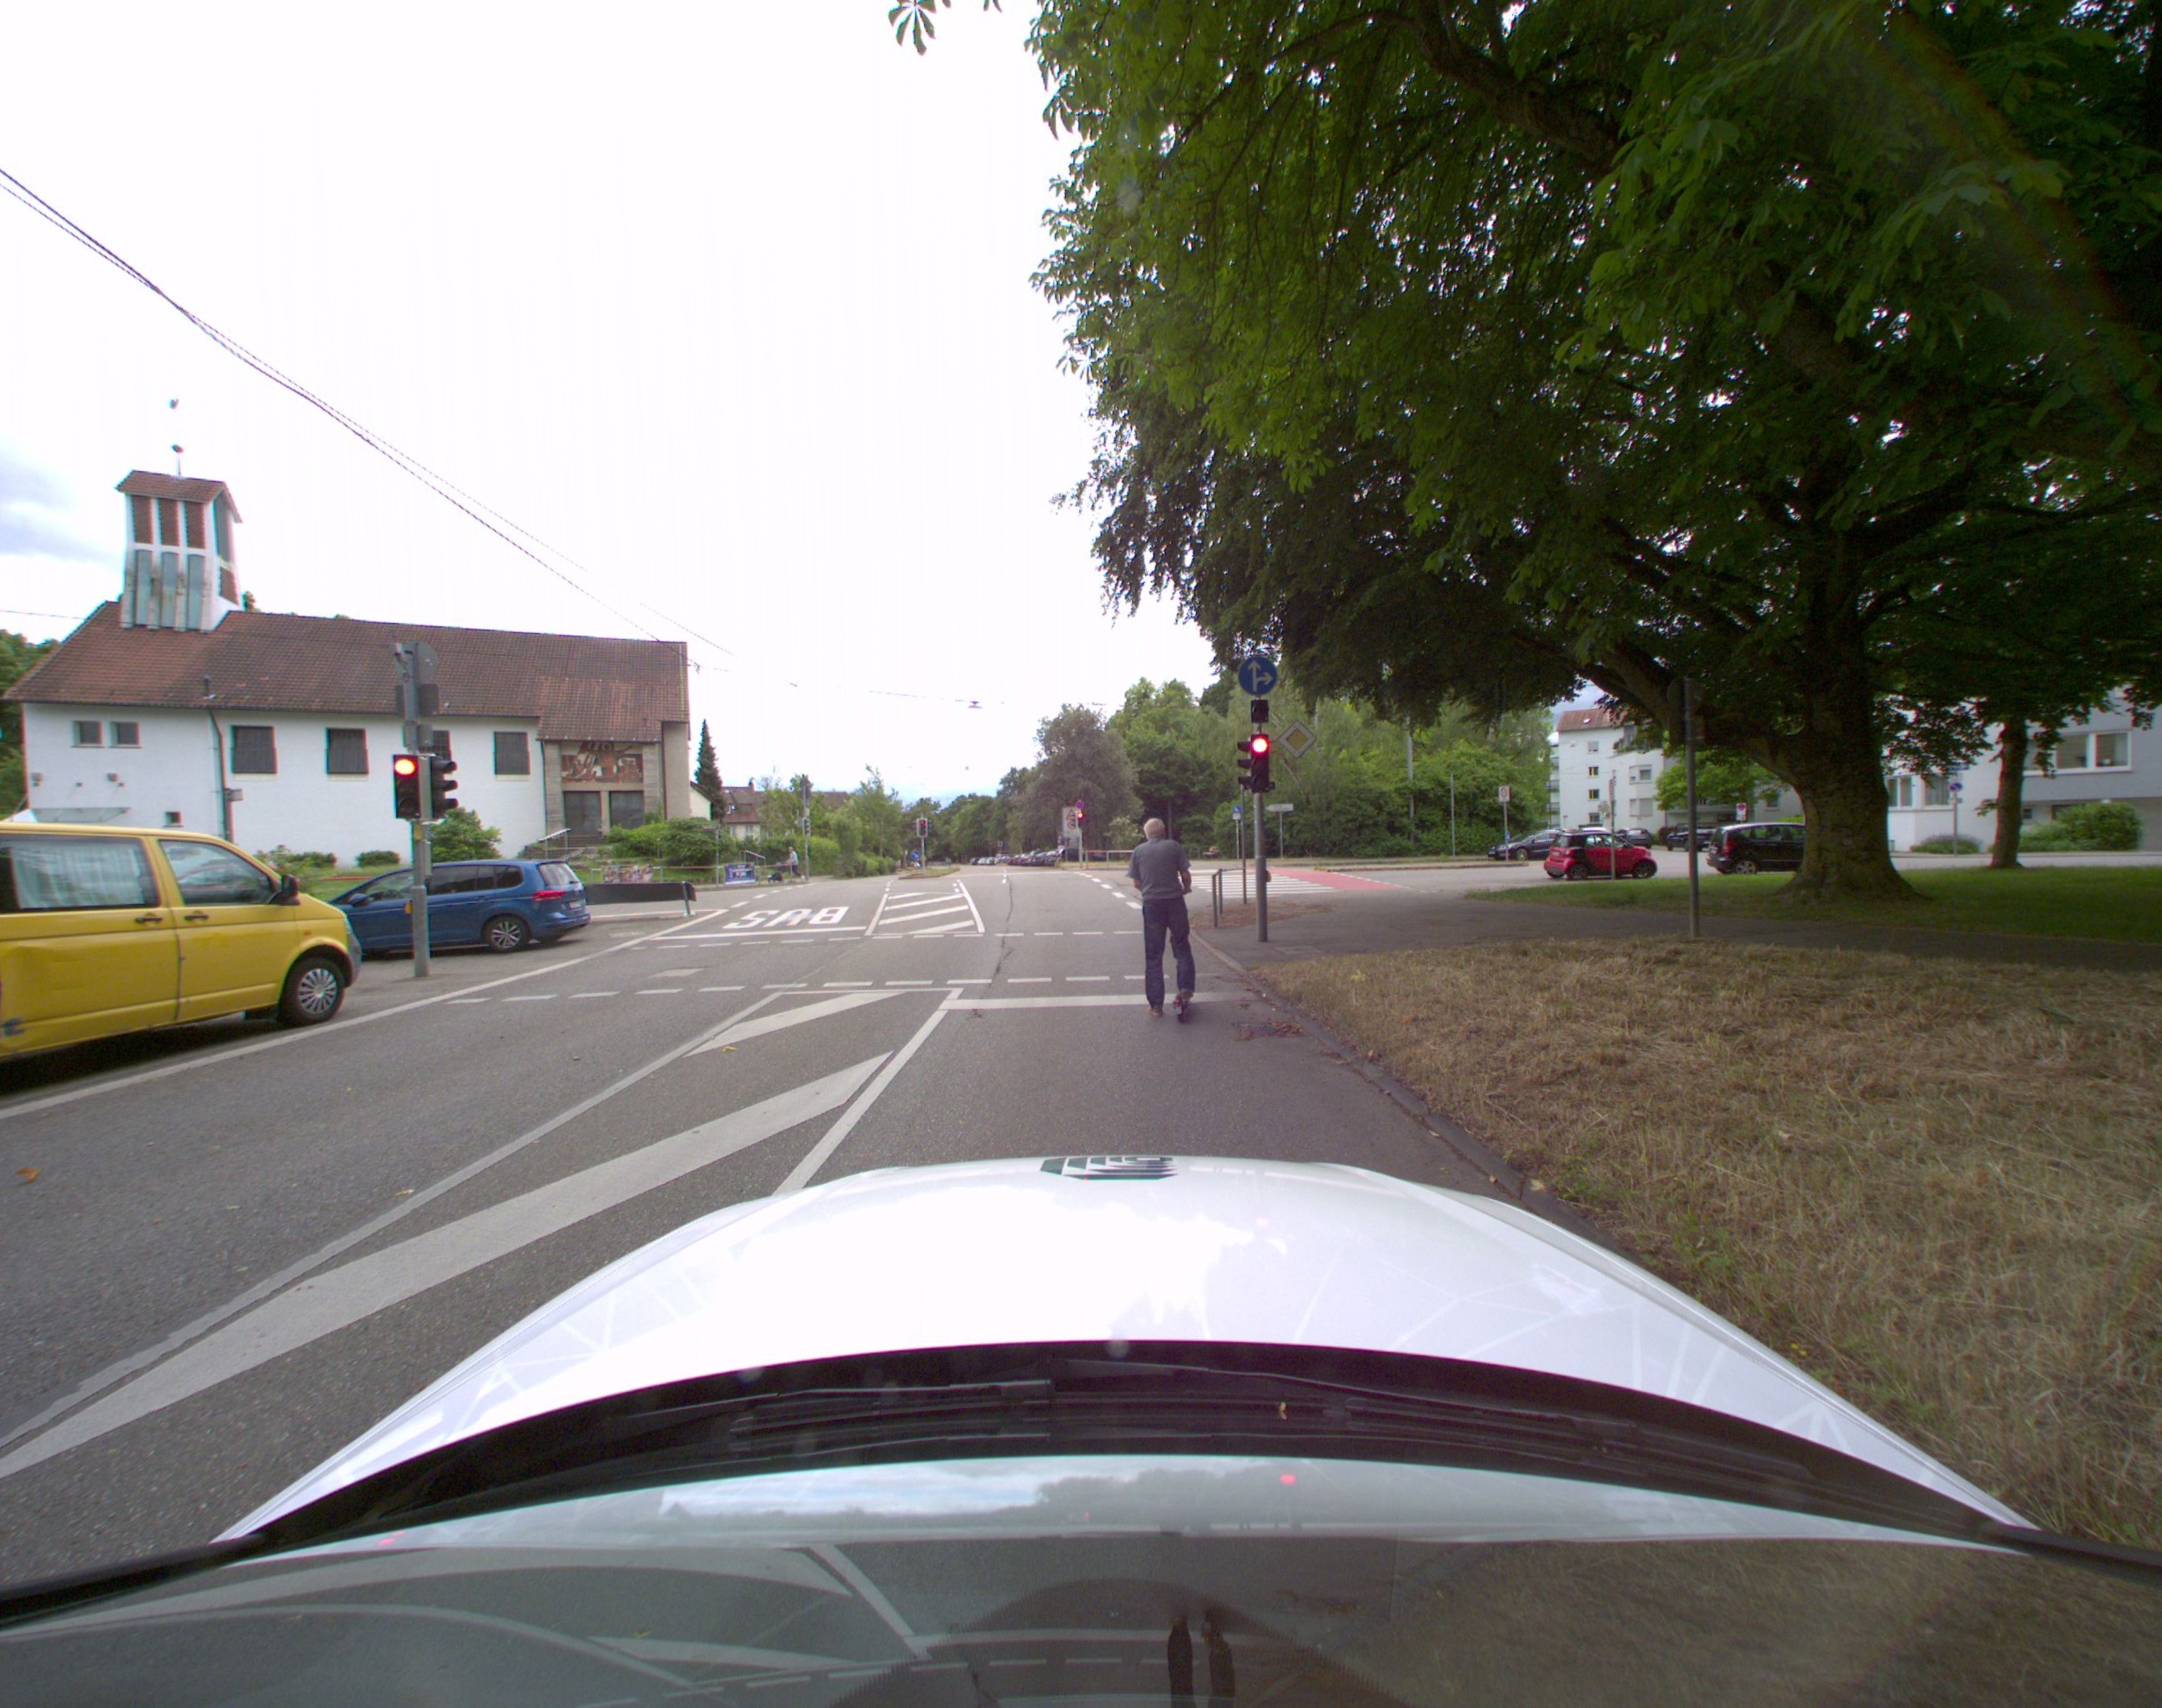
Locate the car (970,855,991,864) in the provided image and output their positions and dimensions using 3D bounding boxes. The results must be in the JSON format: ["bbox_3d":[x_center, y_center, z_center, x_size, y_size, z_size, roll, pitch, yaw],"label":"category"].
[{"bbox_3d":[-20.499,1.166,166.570,3.856,1.610,1.716,-3,0,-21],"label":"car"}]

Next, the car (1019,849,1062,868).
[{"bbox_3d":[-4.049,0.454,81.612,3.856,1.610,1.716,-3,0,-21],"label":"car"}]

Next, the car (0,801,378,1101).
[{"bbox_3d":[-8.301,0.683,6.331,1.880,2.013,4.558,-2,0,-5],"label":"car"}]

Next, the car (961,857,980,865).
[{"bbox_3d":[-24.231,1.552,178.798,3.856,1.610,1.716,-3,0,-21],"label":"car"}]

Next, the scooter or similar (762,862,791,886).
[{"bbox_3d":[-14.521,0.928,38.804,0.570,1.081,1.118,-2,0,38],"label":"scooter or similar"}]

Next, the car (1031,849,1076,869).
[{"bbox_3d":[-2.591,0.468,76.997,3.857,1.610,1.715,-3,0,-22],"label":"car"}]

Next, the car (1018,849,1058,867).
[{"bbox_3d":[-4.600,0.432,86.943,3.856,1.610,1.716,-3,0,-21],"label":"car"}]

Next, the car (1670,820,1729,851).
[{"bbox_3d":[35.567,-1.065,46.918,1.707,1.610,3.875,-3,1,22],"label":"car"}]

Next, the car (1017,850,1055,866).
[{"bbox_3d":[-4.933,0.438,89.365,3.856,1.610,1.716,-3,0,-21],"label":"car"}]

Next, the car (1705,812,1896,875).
[{"bbox_3d":[20.830,-0.295,23.792,3.805,1.610,1.739,-3,1,27],"label":"car"}]

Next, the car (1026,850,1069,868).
[{"bbox_3d":[-3.279,0.479,79.557,3.856,1.610,1.716,-3,0,-21],"label":"car"}]

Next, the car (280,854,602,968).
[{"bbox_3d":[-11.066,0.917,14.416,3.992,1.610,1.810,-3,0,-14],"label":"car"}]

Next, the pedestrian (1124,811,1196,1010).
[{"bbox_3d":[0.753,0.521,7.666,0.569,1.813,0.421,-2,0,10],"label":"pedestrian"}]

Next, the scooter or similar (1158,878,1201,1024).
[{"bbox_3d":[0.916,0.841,7.485,0.280,1.178,1.180,-2,0,10],"label":"scooter or similar"}]

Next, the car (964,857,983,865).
[{"bbox_3d":[-23.317,1.460,176.437,3.856,1.610,1.716,-3,0,-21],"label":"car"}]

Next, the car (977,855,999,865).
[{"bbox_3d":[-18.149,1.152,159.442,3.856,1.610,1.716,-3,0,-21],"label":"car"}]

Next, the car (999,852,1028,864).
[{"bbox_3d":[-10.125,0.644,122.345,3.856,1.610,1.716,-3,0,-21],"label":"car"}]

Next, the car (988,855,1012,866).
[{"bbox_3d":[-14.329,1.154,143.330,3.856,1.610,1.716,-3,0,-21],"label":"car"}]

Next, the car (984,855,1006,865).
[{"bbox_3d":[-16.346,1.184,154.692,3.856,1.610,1.716,-3,0,-21],"label":"car"}]

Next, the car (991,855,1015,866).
[{"bbox_3d":[-13.390,1.145,139.630,3.856,1.610,1.716,-3,0,-21],"label":"car"}]

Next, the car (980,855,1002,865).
[{"bbox_3d":[-17.323,1.147,156.850,3.856,1.610,1.716,-3,0,-21],"label":"car"}]

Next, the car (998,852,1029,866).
[{"bbox_3d":[-9.052,0.690,109.341,3.856,1.610,1.716,-3,0,-21],"label":"car"}]

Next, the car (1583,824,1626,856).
[{"bbox_3d":[28.785,-0.785,44.884,1.706,1.610,3.878,-3,1,30],"label":"car"}]

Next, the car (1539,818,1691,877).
[{"bbox_3d":[16.524,-0.206,25.349,3.499,1.610,1.732,-3,0,7],"label":"car"}]

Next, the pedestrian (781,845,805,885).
[{"bbox_3d":[-13.977,0.531,39.539,0.567,1.862,0.892,-2,0,39],"label":"pedestrian"}]

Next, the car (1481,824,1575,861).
[{"bbox_3d":[21.109,-0.558,38.593,3.498,1.530,1.732,-3,0,8],"label":"car"}]

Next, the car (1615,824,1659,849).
[{"bbox_3d":[38.954,-1.272,57.128,1.707,1.610,3.875,-3,1,22],"label":"car"}]
